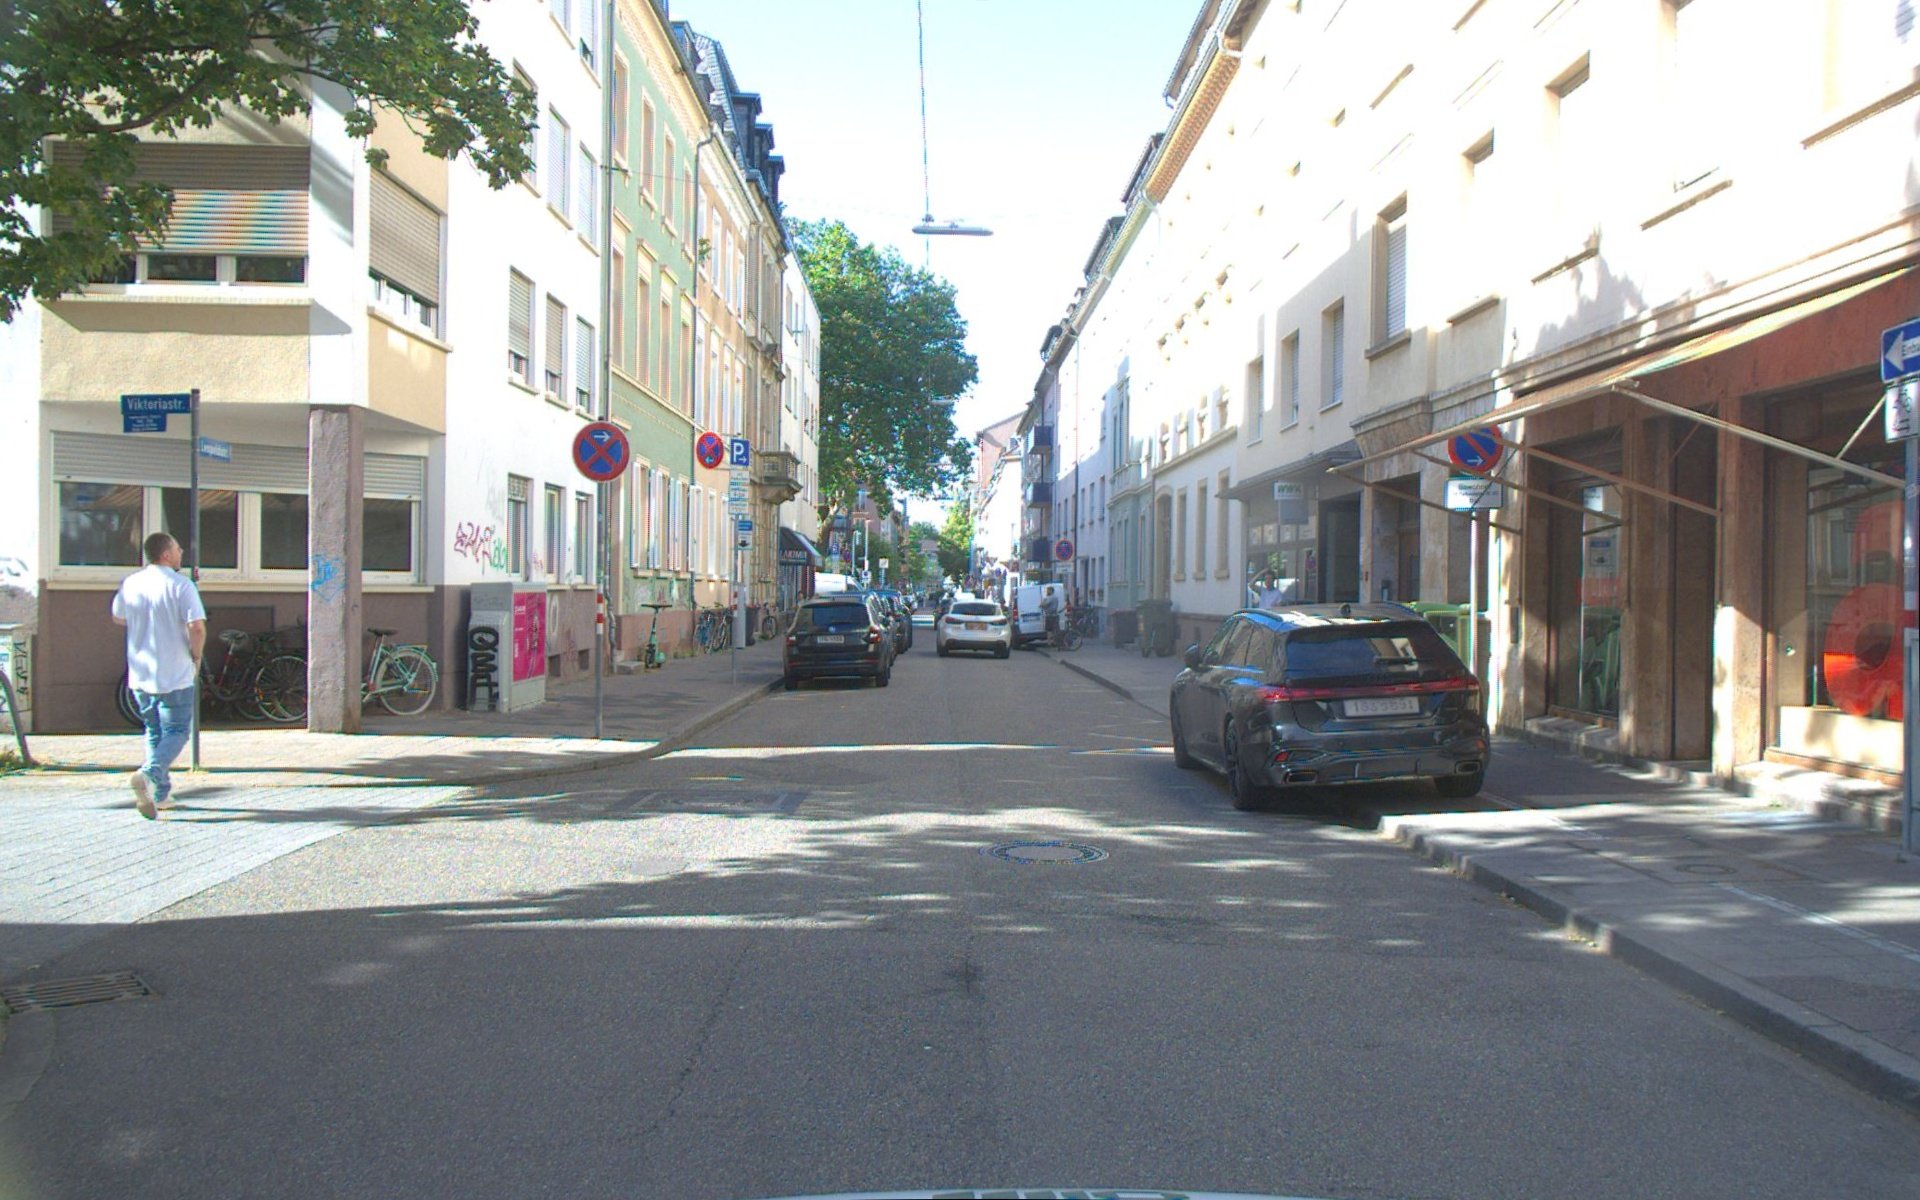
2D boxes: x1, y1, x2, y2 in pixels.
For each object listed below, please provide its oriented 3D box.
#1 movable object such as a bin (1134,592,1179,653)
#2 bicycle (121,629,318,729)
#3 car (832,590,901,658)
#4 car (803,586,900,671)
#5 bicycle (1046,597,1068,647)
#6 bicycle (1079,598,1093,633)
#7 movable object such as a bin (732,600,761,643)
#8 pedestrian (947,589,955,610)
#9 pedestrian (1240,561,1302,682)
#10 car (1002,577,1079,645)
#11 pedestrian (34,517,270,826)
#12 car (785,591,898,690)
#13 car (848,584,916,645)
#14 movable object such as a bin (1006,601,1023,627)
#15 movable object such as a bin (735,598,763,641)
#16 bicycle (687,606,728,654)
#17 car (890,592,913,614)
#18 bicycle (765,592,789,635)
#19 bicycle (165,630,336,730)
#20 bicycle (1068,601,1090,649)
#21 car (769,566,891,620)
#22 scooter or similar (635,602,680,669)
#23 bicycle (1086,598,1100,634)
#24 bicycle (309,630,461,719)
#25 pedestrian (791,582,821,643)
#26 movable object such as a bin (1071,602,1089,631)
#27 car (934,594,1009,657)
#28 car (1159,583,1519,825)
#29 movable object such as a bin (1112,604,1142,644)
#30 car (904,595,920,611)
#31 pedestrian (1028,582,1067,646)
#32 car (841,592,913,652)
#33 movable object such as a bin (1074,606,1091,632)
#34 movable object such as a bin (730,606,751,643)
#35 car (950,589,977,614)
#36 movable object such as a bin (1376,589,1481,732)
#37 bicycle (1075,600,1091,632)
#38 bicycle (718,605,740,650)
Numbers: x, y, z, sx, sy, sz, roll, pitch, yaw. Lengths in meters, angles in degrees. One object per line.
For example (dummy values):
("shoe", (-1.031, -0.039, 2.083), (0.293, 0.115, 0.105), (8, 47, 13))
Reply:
("movable object such as a bin", (4.717, 0.555, 39.779), (0.820, 1.414, 1.296), (-2, -2, -2))
("bicycle", (-7.482, 0.778, 16.789), (0.376, 0.929, 1.854), (0, 0, 39))
("car", (-2.243, 0.550, 40.410), (1.583, 1.581, 3.976), (0, 0, -2))
("car", (-2.203, 0.534, 34.616), (1.708, 1.643, 4.603), (-1, 1, 0))
("bicycle", (2.700, 0.605, 46.159), (0.563, 1.344, 2.200), (0, 0, 3))
("bicycle", (4.501, 0.562, 59.206), (0.428, 1.227, 2.267), (0, -1, 6))
("movable object such as a bin", (-5.669, 0.563, 44.029), (0.721, 1.108, 0.682), (0, 1, -5))
("pedestrian", (-0.913, -0.040, 164.765), (0.755, 2.155, 0.834), (0, -1, 0))
("pedestrian", (4.999, 0.340, 26.630), (0.639, 1.892, 0.743), (-2, 1, -23))
("car", (2.478, 0.320, 52.118), (1.943, 1.916, 5.598), (-3, 0, -1))
("pedestrian", (-5.149, 0.437, 10.638), (0.892, 1.865, 1.245), (0, -1, -1))
("car", (-1.978, 0.635, 28.760), (1.679, 1.514, 4.850), (-2, 0, -2))
("car", (-2.338, 0.411, 50.695), (1.897, 1.766, 5.141), (0, 0, -1))
("movable object such as a bin", (2.358, 0.614, 72.063), (0.717, 1.100, 0.703), (0, -1, 0))
("movable object such as a bin", (-5.696, 0.537, 44.649), (0.705, 1.152, 0.584), (0, -1, -5))
("bicycle", (-5.693, 0.671, 37.348), (0.353, 1.046, 1.919), (0, -1, 8))
("car", (-4.636, 0.234, 131.483), (1.734, 1.616, 3.725), (0, 1, -2))
("bicycle", (-5.609, 0.407, 50.648), (0.500, 1.299, 1.867), (0, -1, 0))
("bicycle", (-7.102, 0.779, 16.612), (0.397, 0.913, 1.577), (0, 1, 39))
("bicycle", (3.338, 0.686, 46.493), (0.563, 1.293, 2.200), (-1, 0, 3))
("car", (-7.395, -0.379, 94.673), (6.601, 2.599, 2.146), (4, -1, 1))
("scooter or similar", (-5.535, 0.640, 30.358), (0.444, 1.202, 1.691), (0, -1, 2))
("bicycle", (4.640, 0.552, 57.873), (0.397, 1.227, 2.160), (0, -1, 2))
("bicycle", (-6.226, 0.788, 17.967), (0.423, 0.897, 1.562), (2, 1, 38))
("pedestrian", (-4.468, 0.353, 48.023), (0.749, 1.744, 0.883), (2, 0, -2))
("movable object such as a bin", (4.519, 0.623, 62.172), (0.603, 1.081, 0.603), (-1, 0, -1))
("car", (0.258, 0.631, 42.620), (1.787, 1.540, 3.822), (0, 0, -2))
("car", (2.883, 0.704, 13.721), (1.764, 1.606, 4.896), (1, 0, -1))
("movable object such as a bin", (4.680, 0.665, 46.373), (0.780, 1.115, 0.642), (0, -1, 1))
("car", (-4.755, 0.314, 163.701), (1.540, 1.613, 3.610), (0, -1, 0))
("pedestrian", (2.571, 0.412, 48.561), (0.850, 1.869, 0.881), (0, -1, 31))
("car", (-2.215, 0.564, 45.178), (1.678, 1.558, 4.367), (0, 0, 1))
("movable object such as a bin", (4.552, 0.695, 61.563), (0.565, 0.940, 0.607), (-2, 0, -1))
("movable object such as a bin", (-5.753, 0.634, 43.297), (0.463, 0.953, 0.560), (2, 0, -3))
("car", (0.283, 0.125, 134.796), (1.904, 1.982, 4.075), (2, 0, -3))
("movable object such as a bin", (5.070, 0.631, 17.974), (0.731, 1.461, 1.372), (-2, 0, 1))
("bicycle", (4.473, 0.581, 60.294), (0.556, 1.173, 1.869), (0, -1, 4))
("bicycle", (-5.686, 0.661, 40.699), (0.394, 1.074, 1.835), (0, -1, -4))
